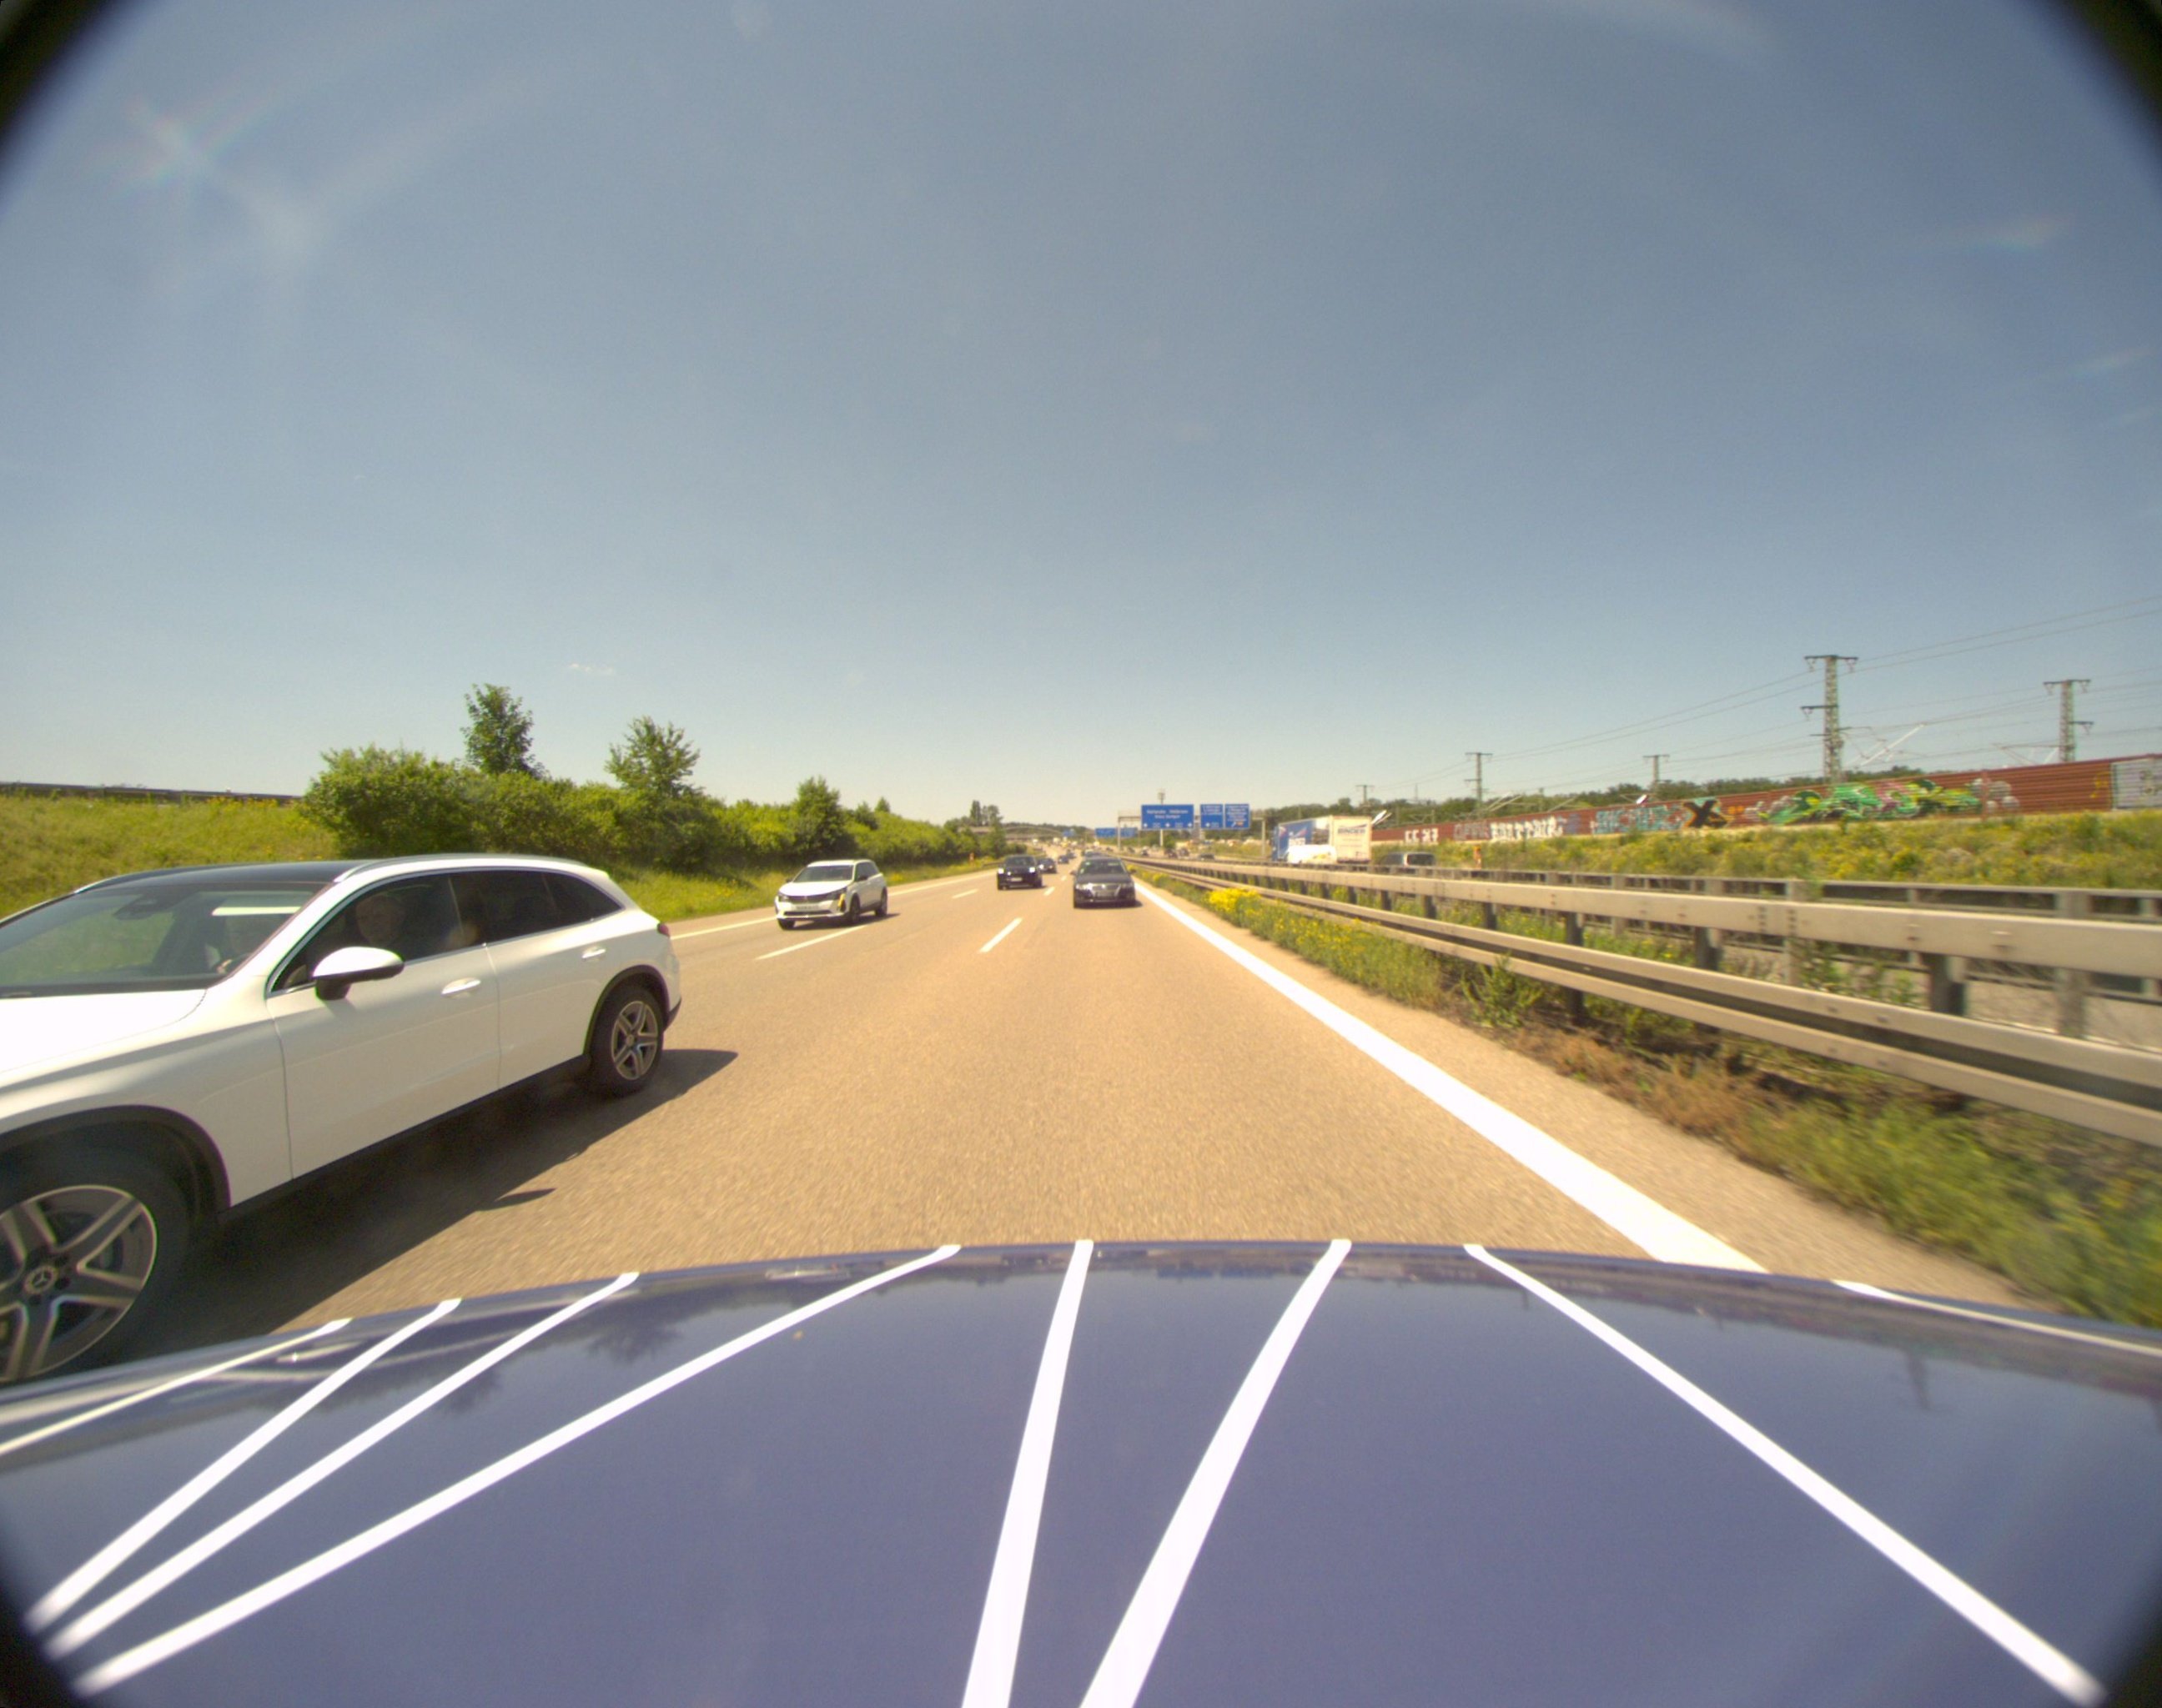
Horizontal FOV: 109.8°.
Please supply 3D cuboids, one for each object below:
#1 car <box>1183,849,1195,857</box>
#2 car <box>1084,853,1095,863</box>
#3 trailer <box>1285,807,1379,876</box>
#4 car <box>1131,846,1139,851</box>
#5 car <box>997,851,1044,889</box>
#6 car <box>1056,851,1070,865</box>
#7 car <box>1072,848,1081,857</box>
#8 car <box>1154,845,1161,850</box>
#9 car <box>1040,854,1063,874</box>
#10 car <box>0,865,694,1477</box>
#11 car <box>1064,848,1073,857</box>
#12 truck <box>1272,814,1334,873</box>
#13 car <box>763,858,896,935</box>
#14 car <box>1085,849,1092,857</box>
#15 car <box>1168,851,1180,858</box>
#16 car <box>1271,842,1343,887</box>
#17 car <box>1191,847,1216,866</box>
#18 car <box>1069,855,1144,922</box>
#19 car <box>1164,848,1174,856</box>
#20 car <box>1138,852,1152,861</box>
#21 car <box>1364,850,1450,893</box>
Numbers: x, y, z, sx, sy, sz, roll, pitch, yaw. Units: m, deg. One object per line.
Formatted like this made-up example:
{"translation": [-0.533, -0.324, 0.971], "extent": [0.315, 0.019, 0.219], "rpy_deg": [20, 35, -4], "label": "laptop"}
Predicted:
{"translation": [24.592, -0.215, 173.125], "extent": [1.998, 1.716, 4.513], "rpy_deg": [-2, 1, 1], "label": "car"}
{"translation": [1.519, 0.762, 138.735], "extent": [1.999, 1.691, 3.999], "rpy_deg": [-2, 1, 0], "label": "car"}
{"translation": [17.467, -0.798, 53.981], "extent": [2.895, 4.382, 12.091], "rpy_deg": [0, 0, 1], "label": "trailer"}
{"translation": [15.833, -1.667, 223.399], "extent": [1.872, 1.387, 4.512], "rpy_deg": [-2, 1, -2], "label": "car"}
{"translation": [-2.898, 0.737, 37.200], "extent": [1.983, 1.620, 4.615], "rpy_deg": [-2, 1, -1], "label": "car"}
{"translation": [-2.723, 0.531, 116.277], "extent": [1.999, 2.002, 3.999], "rpy_deg": [-2, 1, 0], "label": "car"}
{"translation": [-1.029, -0.390, 184.887], "extent": [1.998, 2.002, 3.999], "rpy_deg": [-3, 1, 1], "label": "car"}
{"translation": [26.183, -2.240, 259.887], "extent": [1.998, 1.875, 4.977], "rpy_deg": [-2, 1, 2], "label": "car"}
{"translation": [-2.411, 0.784, 61.993], "extent": [1.752, 1.462, 3.998], "rpy_deg": [-2, 1, -2], "label": "car"}
{"translation": [-3.988, 0.953, 3.522], "extent": [1.909, 1.646, 4.636], "rpy_deg": [-2, 0, 1], "label": "car"}
{"translation": [-2.689, -0.333, 163.981], "extent": [1.999, 1.691, 3.999], "rpy_deg": [-2, 1, 0], "label": "car"}
{"translation": [17.596, -0.820, 60.727], "extent": [2.895, 4.382, 7.503], "rpy_deg": [0, 0, 1], "label": "truck"}
{"translation": [-6.405, 1.004, 19.979], "extent": [1.898, 1.620, 4.616], "rpy_deg": [-2, 1, 0], "label": "car"}
{"translation": [2.171, -0.243, 217.593], "extent": [1.998, 2.002, 3.999], "rpy_deg": [-3, 1, 1], "label": "car"}
{"translation": [19.015, 0.111, 154.881], "extent": [1.998, 1.478, 3.931], "rpy_deg": [0, 1, 1], "label": "car"}
{"translation": [9.622, 0.425, 32.690], "extent": [1.820, 1.774, 4.538], "rpy_deg": [-1, 0, 1], "label": "car"}
{"translation": [11.733, 0.181, 72.935], "extent": [1.723, 1.625, 4.191], "rpy_deg": [-3, 1, 1], "label": "car"}
{"translation": [0.595, 0.829, 20.263], "extent": [1.752, 1.462, 3.999], "rpy_deg": [-2, 1, 0], "label": "car"}
{"translation": [22.717, -0.594, 196.533], "extent": [1.998, 2.002, 4.308], "rpy_deg": [-3, 1, 1], "label": "car"}
{"translation": [11.072, 0.410, 132.046], "extent": [1.998, 1.455, 4.385], "rpy_deg": [-2, 0, 1], "label": "car"}
{"translation": [13.706, 0.684, 32.223], "extent": [1.820, 1.637, 4.362], "rpy_deg": [-1, 0, 1], "label": "car"}
